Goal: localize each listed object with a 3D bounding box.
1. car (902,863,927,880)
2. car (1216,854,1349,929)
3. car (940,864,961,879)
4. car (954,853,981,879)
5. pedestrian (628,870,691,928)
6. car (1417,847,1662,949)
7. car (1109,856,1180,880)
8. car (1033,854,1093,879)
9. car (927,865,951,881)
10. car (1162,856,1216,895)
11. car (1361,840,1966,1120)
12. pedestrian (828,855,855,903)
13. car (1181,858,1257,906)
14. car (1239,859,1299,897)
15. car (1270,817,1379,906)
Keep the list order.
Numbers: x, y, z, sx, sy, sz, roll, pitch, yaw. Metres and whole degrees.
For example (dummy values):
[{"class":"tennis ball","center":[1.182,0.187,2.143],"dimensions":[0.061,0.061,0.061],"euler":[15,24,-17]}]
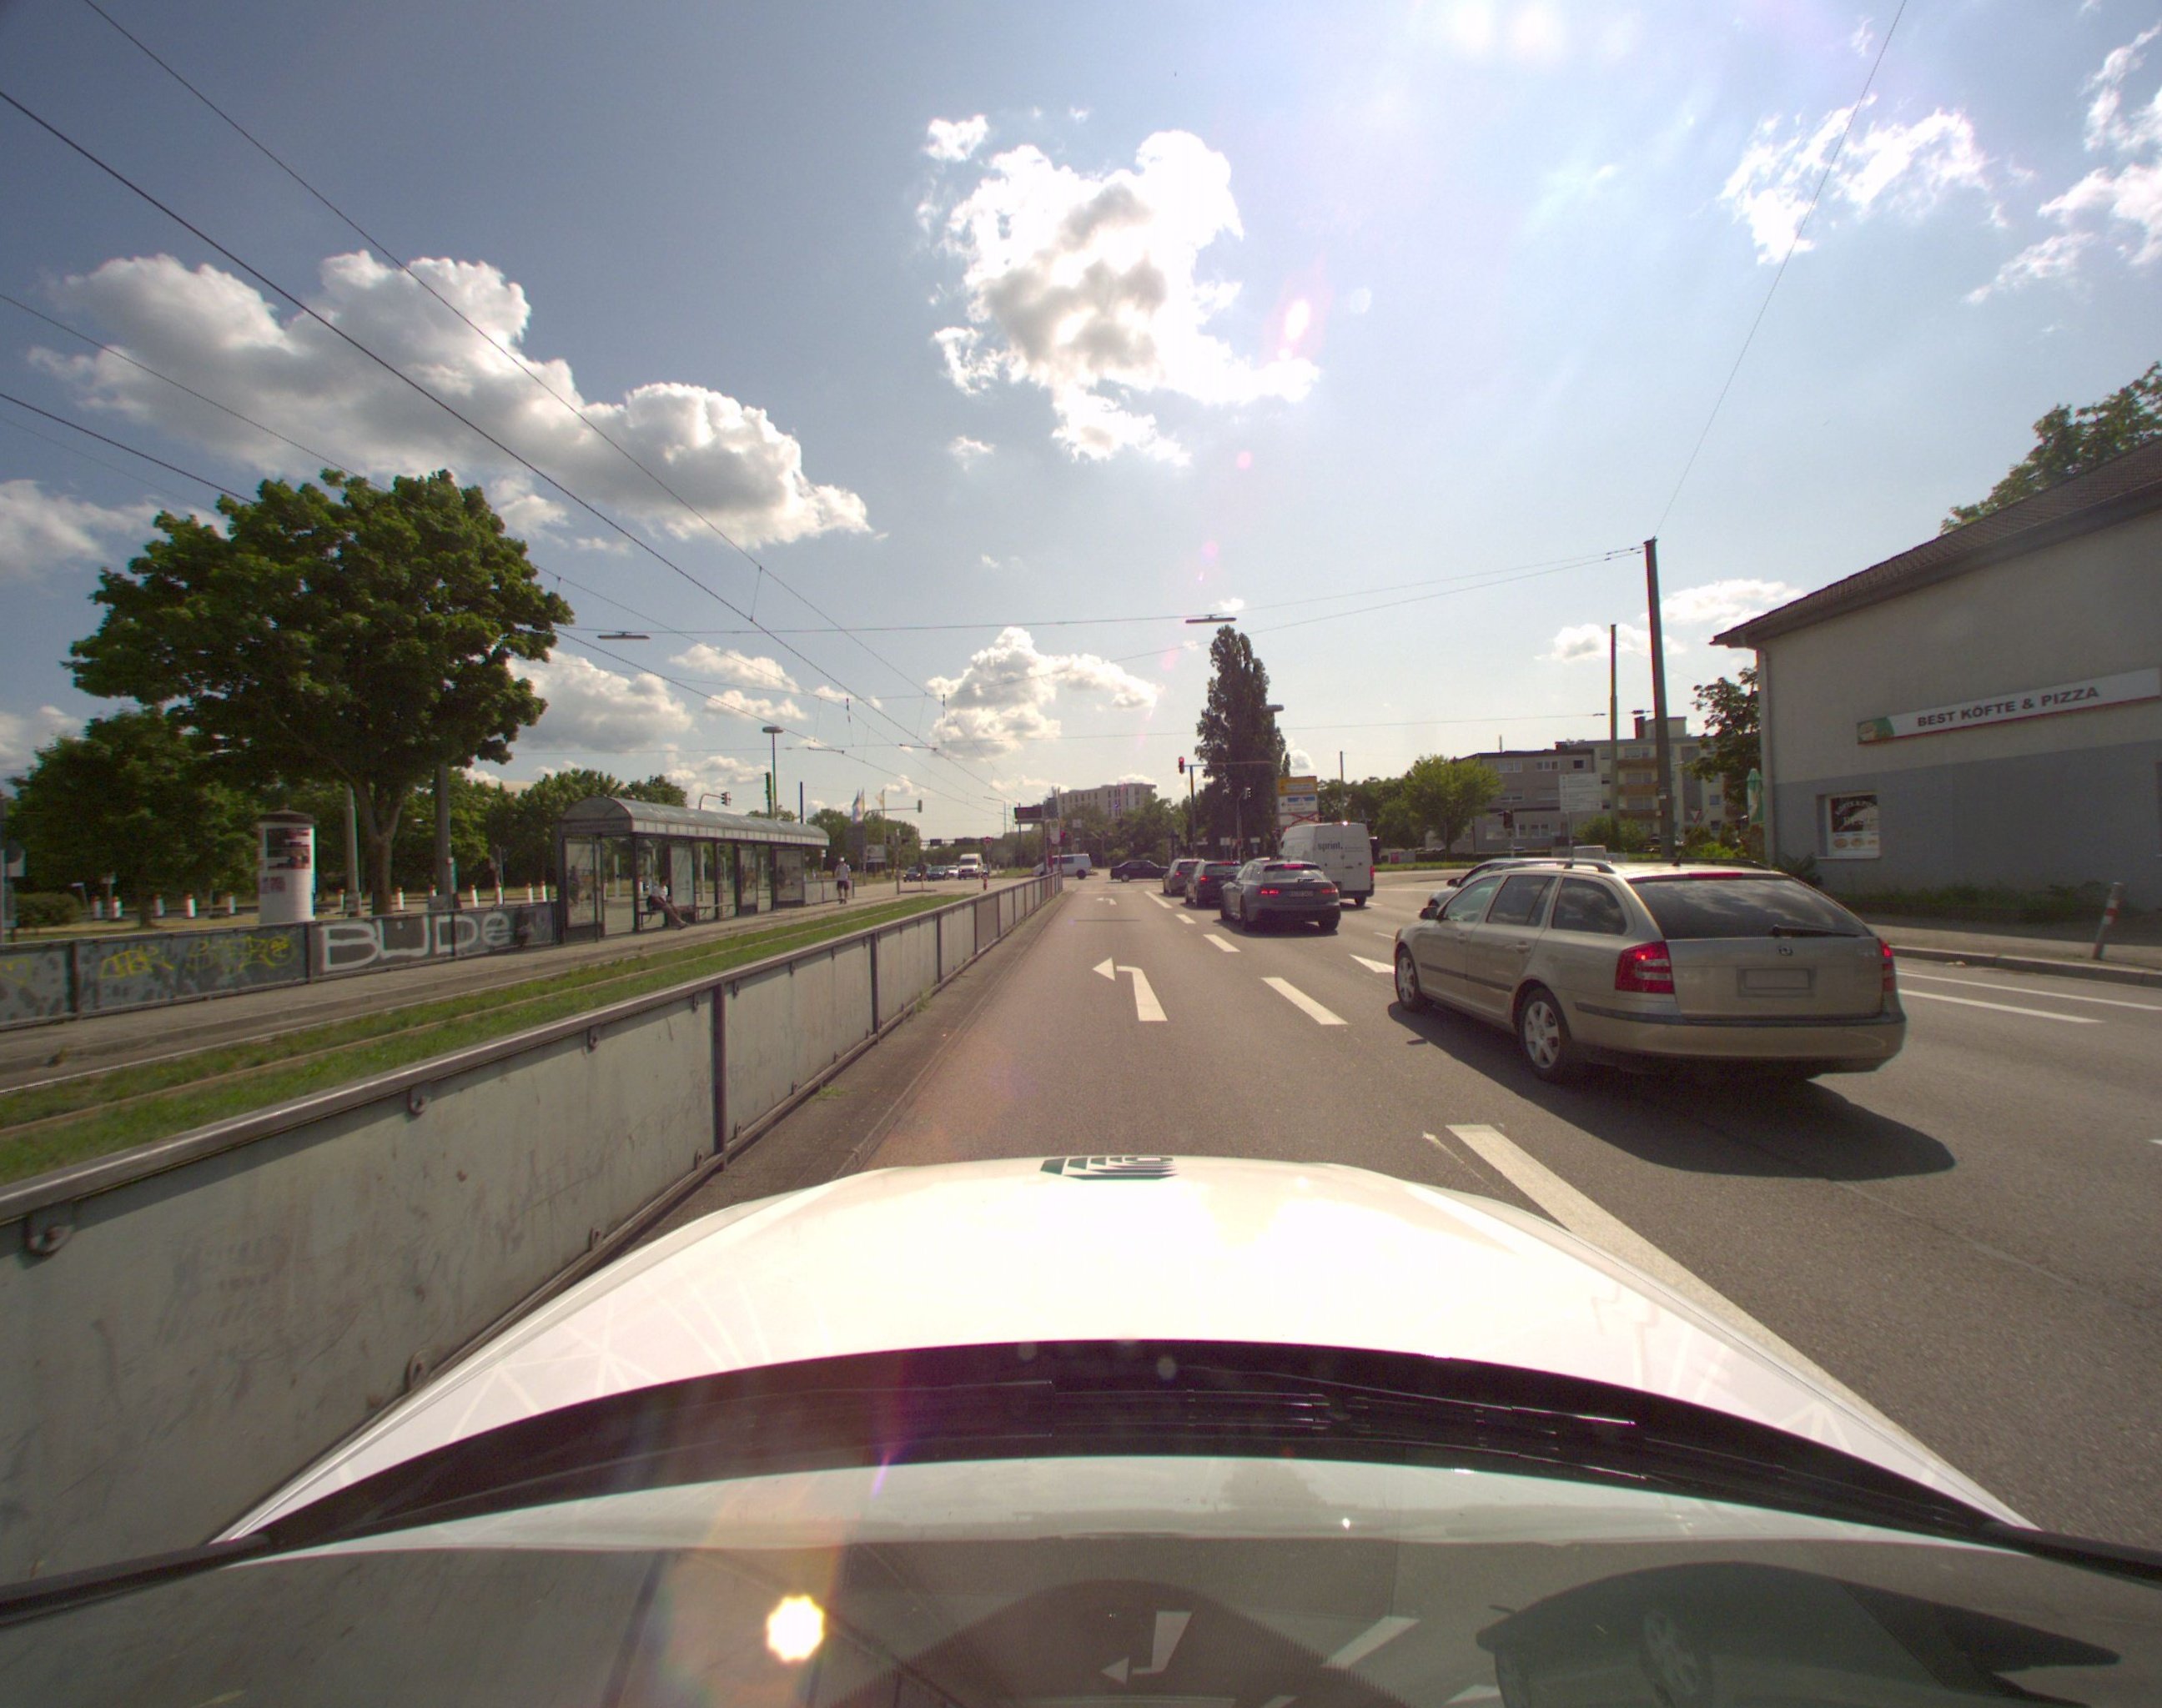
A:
[{"class":"car","center":[-17.137,1.819,83.832],"dimensions":[1.858,1.651,3.996],"euler":[0,-1,-3]},{"class":"car","center":[4.283,0.754,18.138],"dimensions":[1.880,1.448,4.829],"euler":[0,-1,1]},{"class":"car","center":[-14.375,1.934,90.164],"dimensions":[1.797,1.541,4.160],"euler":[0,-1,-2]},{"class":"car","center":[-11.427,1.223,82.309],"dimensions":[1.988,2.606,4.876],"euler":[0,-1,-1]},{"class":"pedestrian","center":[-10.326,1.083,20.003],"dimensions":[1.055,1.376,0.860],"euler":[0,-1,1]},{"class":"car","center":[7.635,0.671,14.178],"dimensions":[1.847,1.492,4.538],"euler":[0,-1,2]},{"class":"car","center":[4.045,0.897,52.516],"dimensions":[4.443,1.514,2.000],"euler":[0,-1,1]},{"class":"car","center":[-1.400,0.985,64.609],"dimensions":[4.659,1.936,2.000],"euler":[-1,-1,1]},{"class":"car","center":[-14.202,1.878,81.635],"dimensions":[1.892,1.541,3.725],"euler":[0,-1,-2]},{"class":"car","center":[4.427,0.856,33.909],"dimensions":[1.738,1.499,4.380],"euler":[0,-1,1]},{"class":"car","center":[3.911,0.701,6.680],"dimensions":[1.732,1.492,4.630],"euler":[0,-1,1]},{"class":"pedestrian","center":[-9.143,0.932,31.070],"dimensions":[0.805,1.795,0.708],"euler":[-1,-1,-1]},{"class":"car","center":[4.323,0.845,26.106],"dimensions":[1.863,1.420,4.100],"euler":[0,-1,1]},{"class":"car","center":[7.736,0.962,33.850],"dimensions":[1.737,1.448,4.383],"euler":[0,-1,3]},{"class":"car","center":[7.684,0.240,26.293],"dimensions":[2.034,2.558,5.232],"euler":[-1,-1,1]}]
